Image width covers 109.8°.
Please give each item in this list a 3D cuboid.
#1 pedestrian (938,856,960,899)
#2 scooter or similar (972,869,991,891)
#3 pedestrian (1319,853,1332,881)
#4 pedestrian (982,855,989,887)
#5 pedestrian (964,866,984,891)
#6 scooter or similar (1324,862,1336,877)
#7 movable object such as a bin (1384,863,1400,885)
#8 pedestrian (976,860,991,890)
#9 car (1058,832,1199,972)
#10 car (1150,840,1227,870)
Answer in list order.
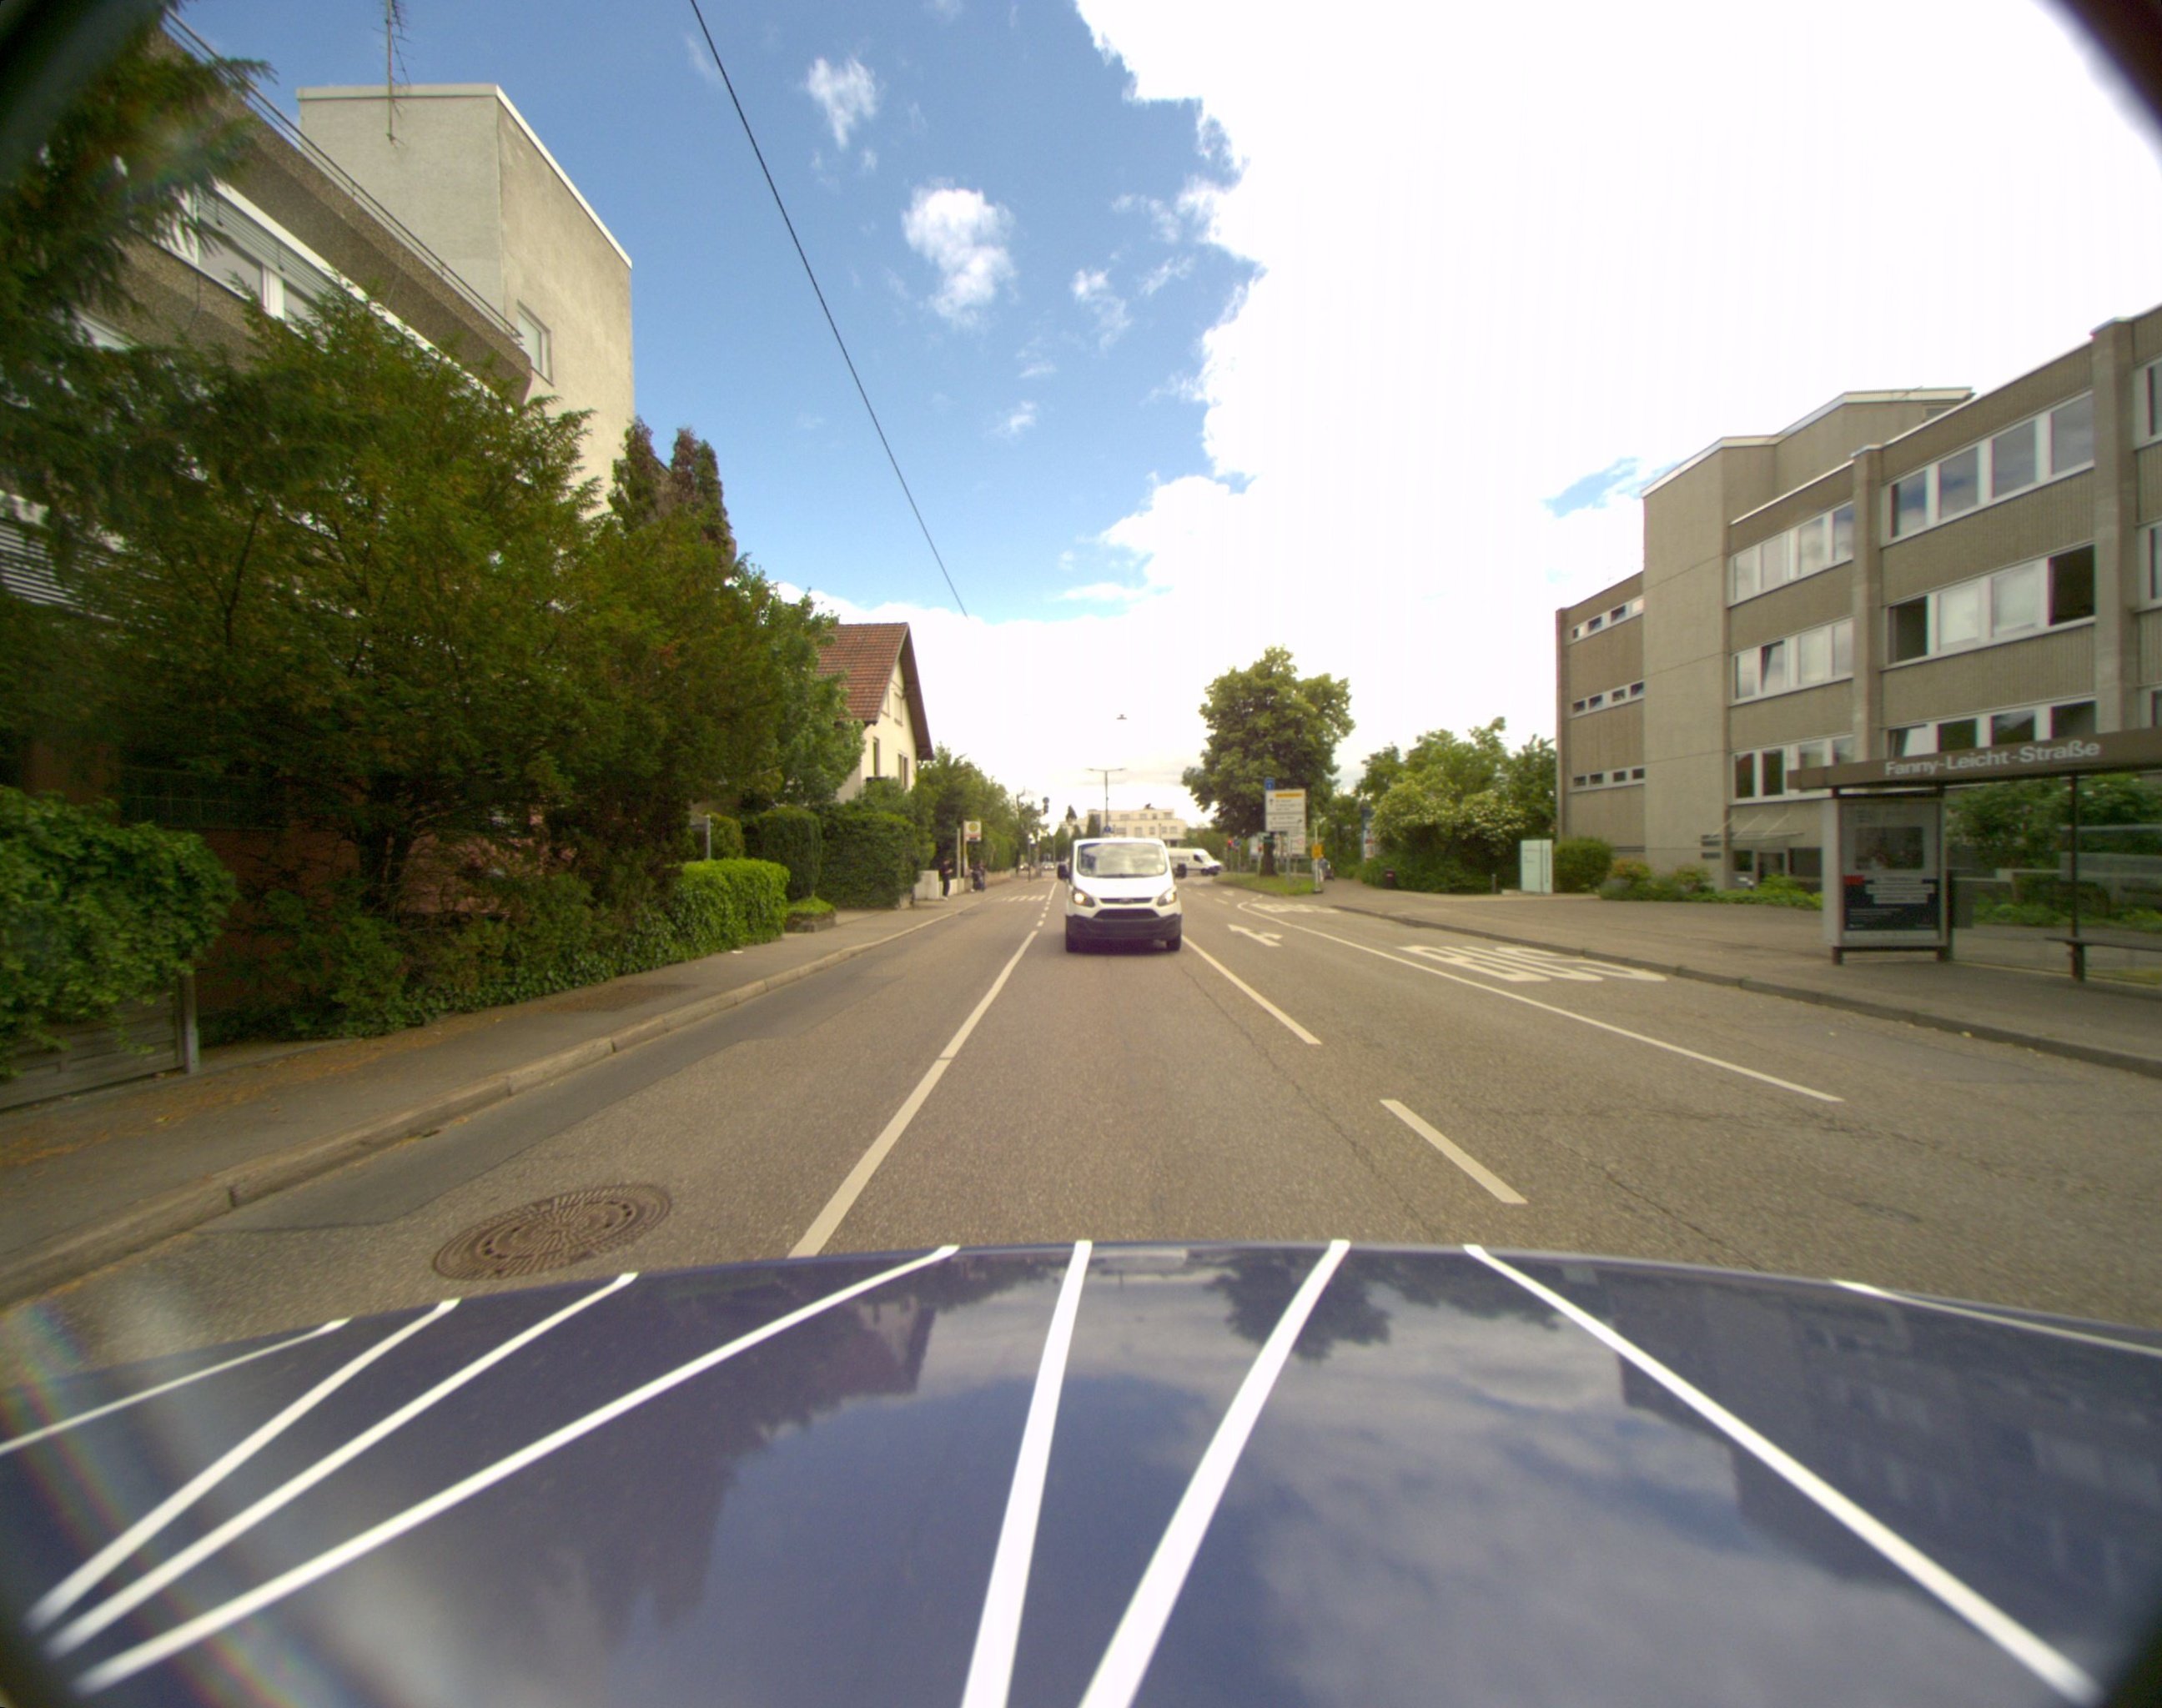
[{"bbox_3d":[-5.499,0.985,31.685,0.489,1.757,0.672,-2,1,32],"label":"pedestrian"},{"bbox_3d":[-5.094,1.339,38.959,0.478,1.091,0.860,3,1,43],"label":"scooter or similar"},{"bbox_3d":[14.318,0.756,44.487,0.672,1.549,0.520,-3,1,18],"label":"pedestrian"},{"bbox_3d":[-5.326,0.951,42.522,0.344,1.745,0.496,1,1,-4],"label":"pedestrian"},{"bbox_3d":[-5.351,1.220,37.948,0.916,1.244,0.789,1,1,-5],"label":"pedestrian"},{"bbox_3d":[14.293,0.886,43.584,0.607,0.782,0.860,-3,1,18],"label":"scooter or similar"},{"bbox_3d":[13.485,0.878,32.985,0.566,0.922,0.608,-2,1,16],"label":"movable object such as a bin"},{"bbox_3d":[-5.128,1.115,39.808,0.661,1.526,0.748,1,1,-1],"label":"pedestrian"},{"bbox_3d":[0.675,0.681,14.086,1.999,1.961,5.714,-3,1,-1],"label":"car"},{"bbox_3d":[10.507,0.163,74.871,7.425,2.630,2.201,-2,1,41],"label":"car"}]
